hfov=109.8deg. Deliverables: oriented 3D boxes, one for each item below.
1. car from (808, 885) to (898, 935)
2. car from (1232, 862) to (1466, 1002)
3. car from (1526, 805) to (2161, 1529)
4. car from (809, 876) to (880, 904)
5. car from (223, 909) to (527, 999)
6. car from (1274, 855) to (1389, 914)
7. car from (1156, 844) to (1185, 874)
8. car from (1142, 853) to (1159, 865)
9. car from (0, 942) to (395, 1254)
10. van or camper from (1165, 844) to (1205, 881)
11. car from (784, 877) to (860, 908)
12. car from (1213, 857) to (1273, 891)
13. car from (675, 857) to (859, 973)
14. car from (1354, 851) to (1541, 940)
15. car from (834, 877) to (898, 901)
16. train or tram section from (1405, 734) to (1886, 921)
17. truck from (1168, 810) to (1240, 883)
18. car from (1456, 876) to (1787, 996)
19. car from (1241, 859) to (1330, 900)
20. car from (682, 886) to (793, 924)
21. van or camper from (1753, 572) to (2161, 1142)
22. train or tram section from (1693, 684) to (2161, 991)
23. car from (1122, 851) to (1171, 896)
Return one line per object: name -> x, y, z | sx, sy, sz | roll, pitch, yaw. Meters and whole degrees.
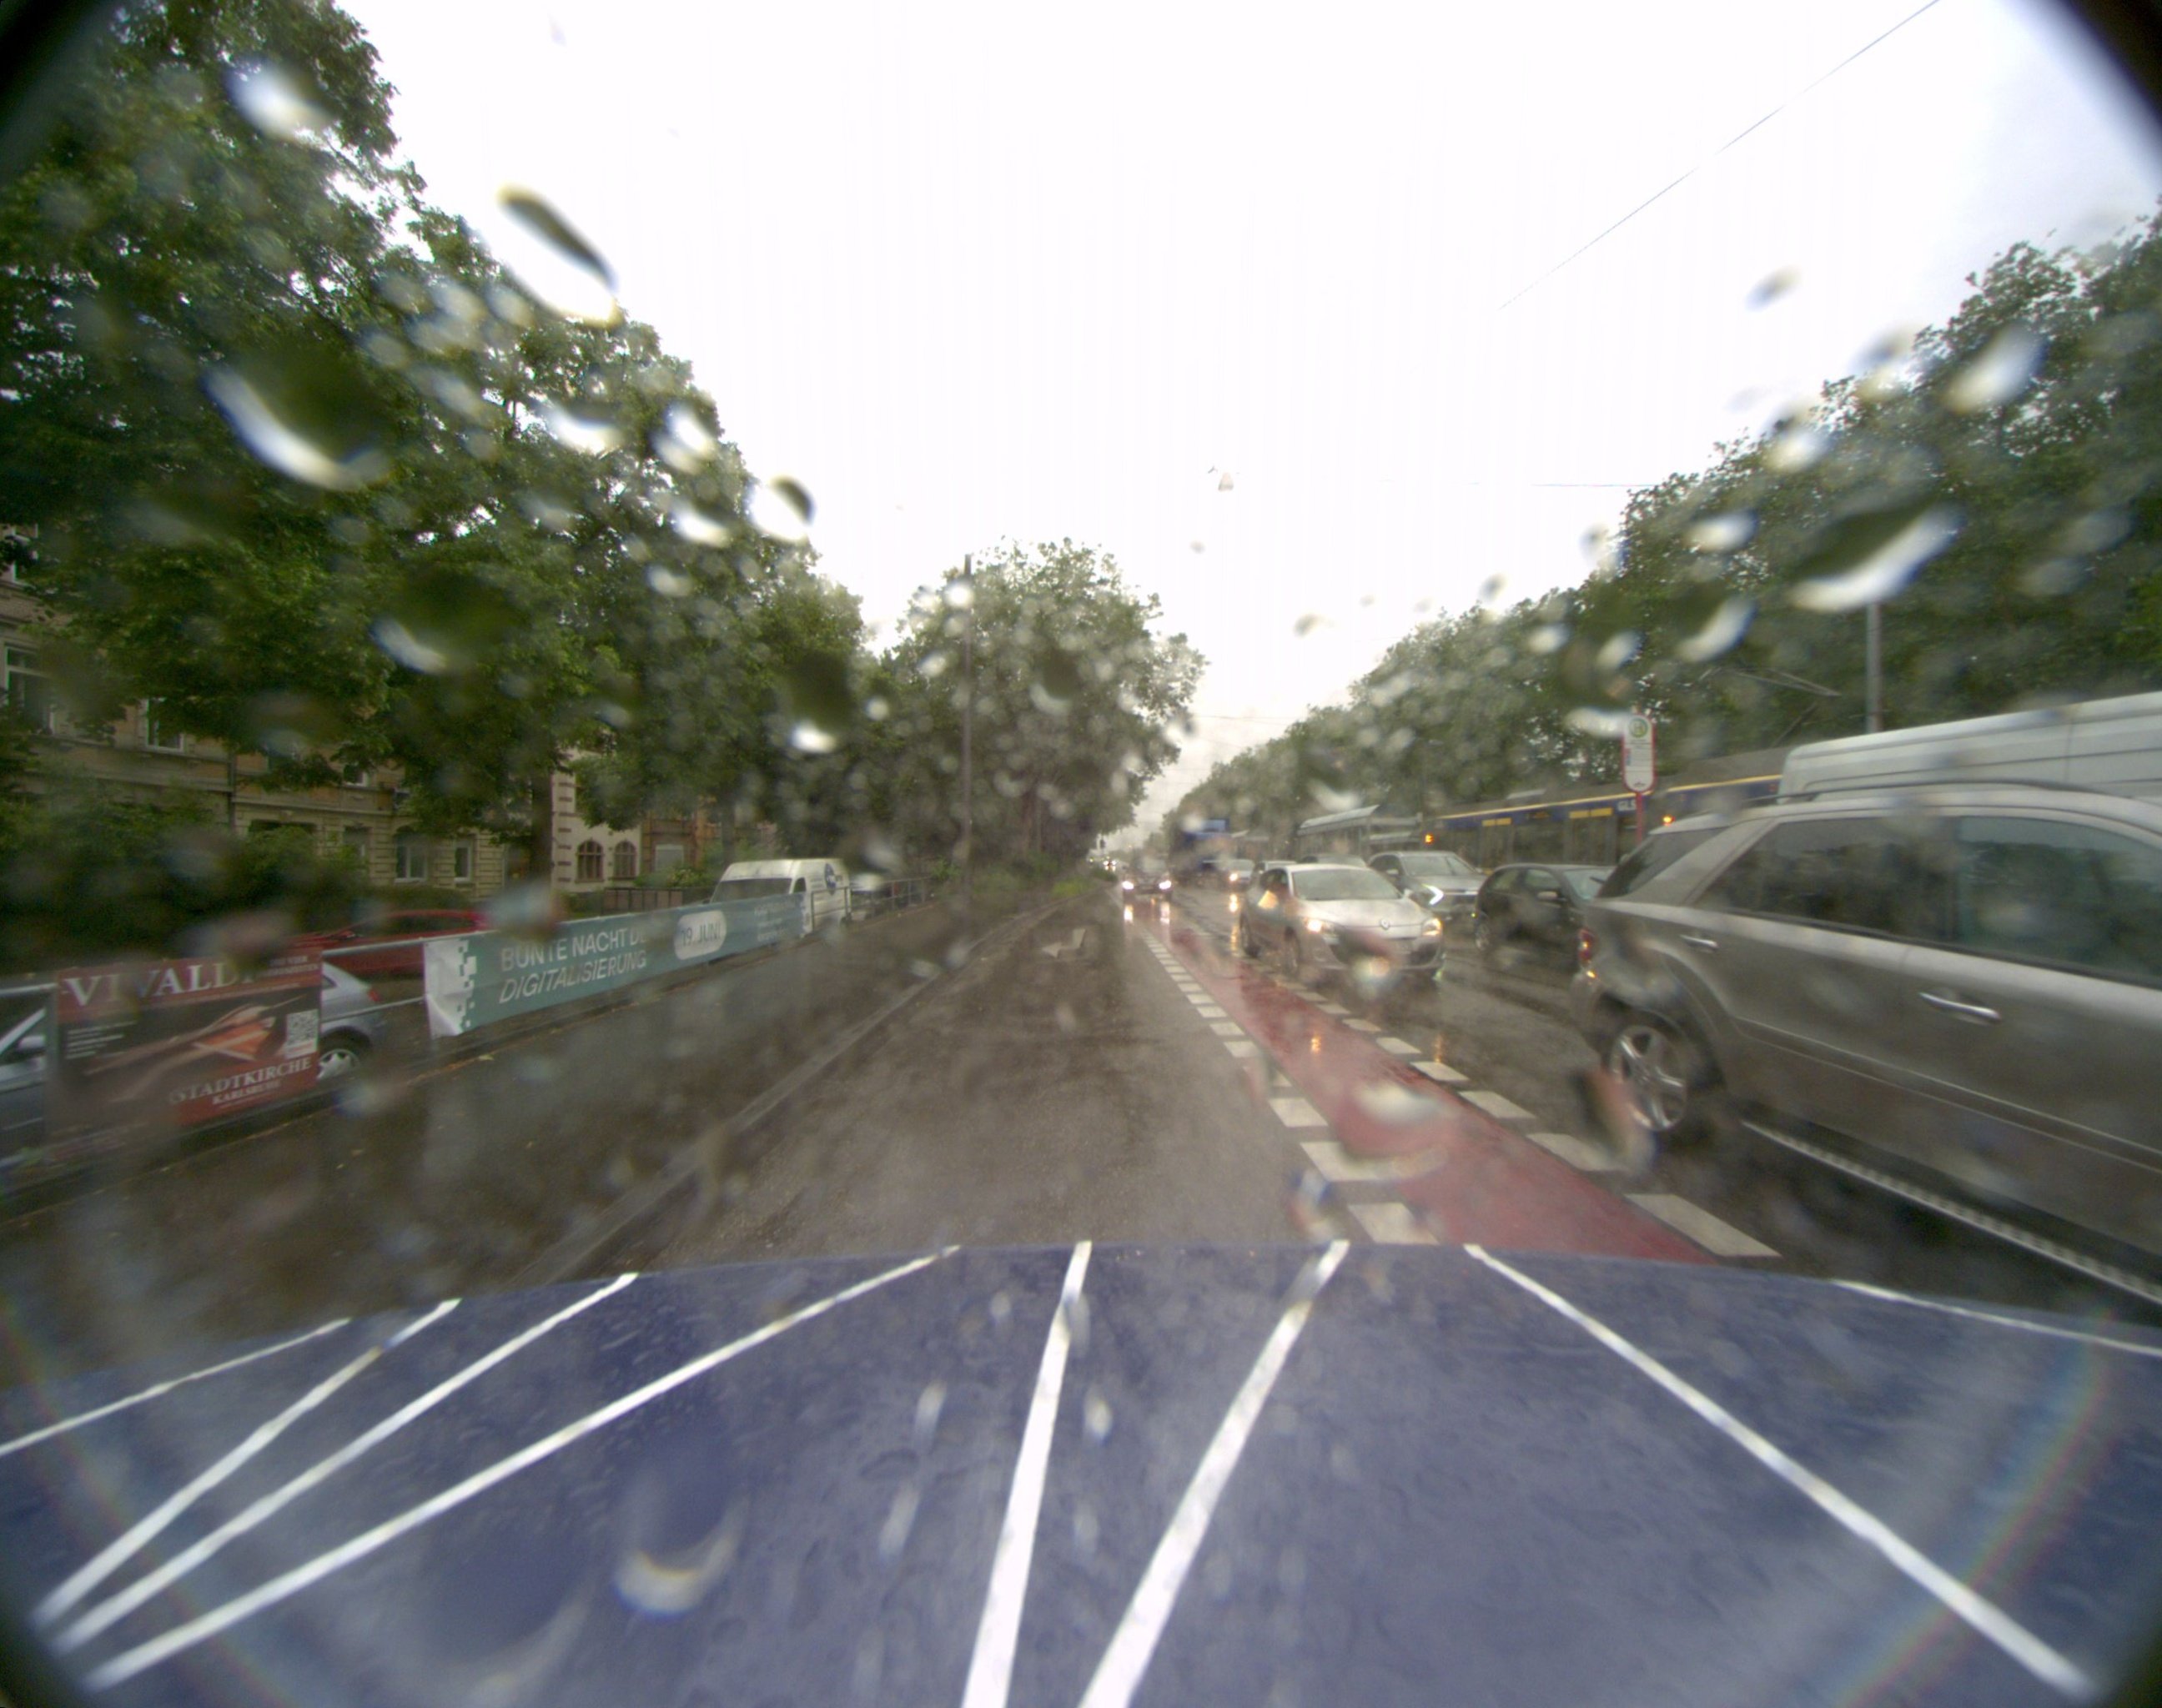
car -> -7.881, 1.897, 26.673 | 1.972, 1.345, 4.383 | -2, 0, -3
car -> 3.386, 0.893, 10.465 | 1.772, 1.469, 4.000 | -1, 0, 0
car -> 3.619, 0.736, 2.180 | 2.030, 1.760, 4.462 | -1, 0, 0
car -> -15.433, 2.314, 49.652 | 4.007, 1.557, 1.995 | -2, 0, -34
car -> -14.601, 2.008, 16.136 | 4.439, 1.444, 1.894 | 0, -1, -32
car -> 7.423, 0.840, 23.009 | 1.999, 1.611, 4.320 | 0, 0, -1
car -> 7.636, 0.396, 65.399 | 1.998, 2.412, 5.728 | -2, 0, 3
car -> 7.399, 0.493, 80.991 | 1.467, 1.185, 3.615 | -1, 0, 0
car -> -7.243, 1.610, 5.007 | 1.736, 1.530, 4.074 | -2, 0, -1
van or camper -> 7.661, 0.575, 56.543 | 1.998, 2.555, 6.431 | -2, 0, 0
car -> -15.704, 2.296, 46.105 | 4.006, 1.599, 1.821 | -2, 0, -31
car -> 7.598, 0.904, 35.915 | 1.895, 1.478, 4.077 | -1, 0, -1
car -> -7.702, 1.326, 19.533 | 2.214, 2.406, 6.157 | -2, 0, -2
car -> 7.475, 0.742, 16.076 | 1.919, 1.614, 4.455 | 0, 0, 2
car -> -15.514, 2.509, 54.797 | 4.007, 1.455, 1.908 | -2, 0, -34
train or tram section -> 13.858, -0.520, 21.553 | 3.522, 3.492, 13.659 | -2, 0, 1
truck -> 7.199, -0.407, 45.839 | 2.545, 3.866, 9.811 | 1, 0, -1
car -> 6.738, 0.924, 10.091 | 1.467, 1.111, 4.087 | -1, 0, 0
car -> 7.536, 0.894, 28.489 | 1.999, 1.386, 4.606 | 0, 0, -1
car -> -14.850, 2.180, 32.940 | 4.269, 1.372, 1.687 | 0, 1, -27
van or camper -> 7.002, 0.016, 3.722 | 2.164, 3.123, 5.851 | 0, 0, -1
train or tram section -> 13.708, -0.244, 7.067 | 3.549, 3.393, 15.504 | -2, 0, 0
car -> 2.571, 0.740, 30.660 | 1.756, 1.657, 3.678 | -1, 0, 2
